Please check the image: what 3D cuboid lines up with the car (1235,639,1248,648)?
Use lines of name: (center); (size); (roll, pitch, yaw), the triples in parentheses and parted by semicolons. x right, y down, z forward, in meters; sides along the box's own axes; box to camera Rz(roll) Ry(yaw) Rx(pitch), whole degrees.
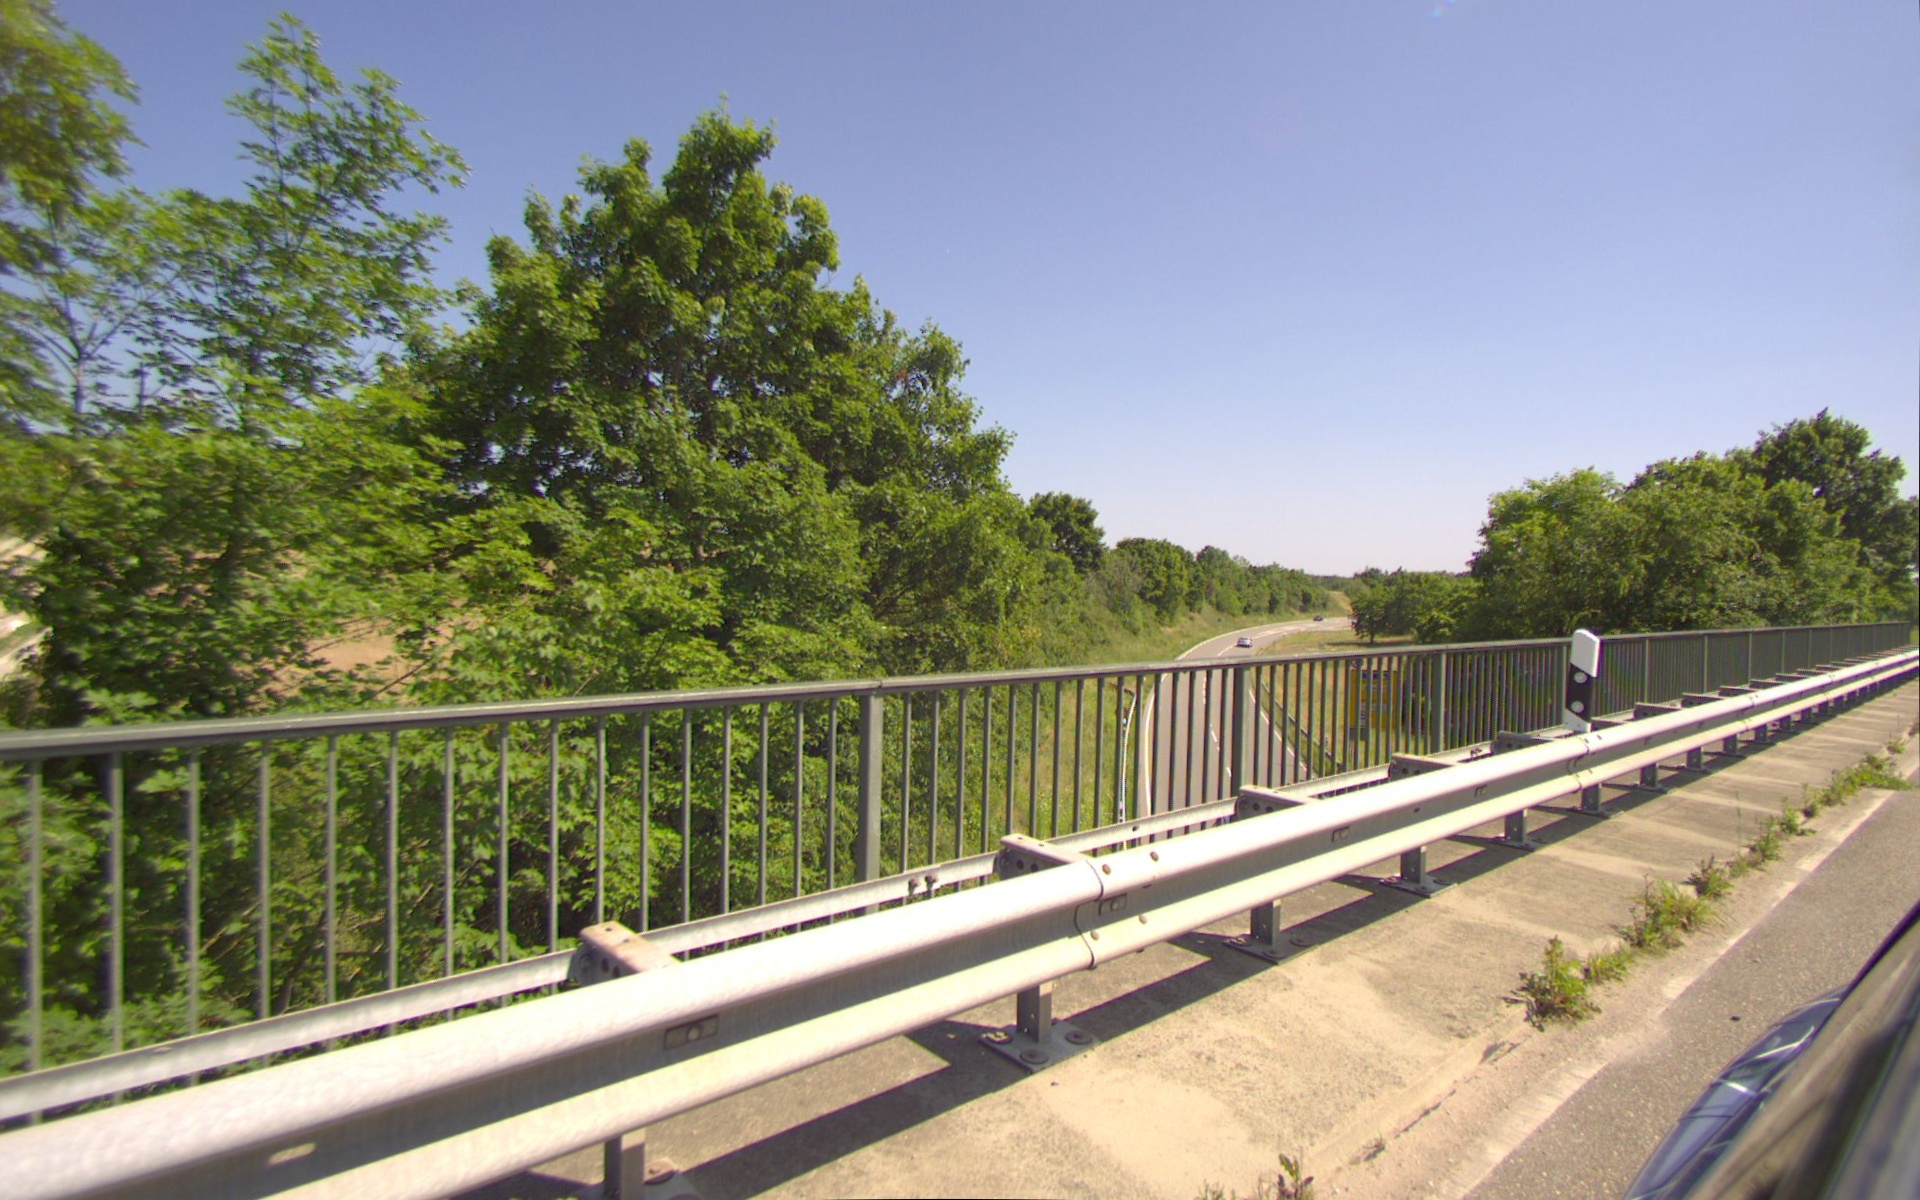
car: (40.391, 6.223, 145.193); (1.499, 1.212, 3.406); (-1, -4, 11)
